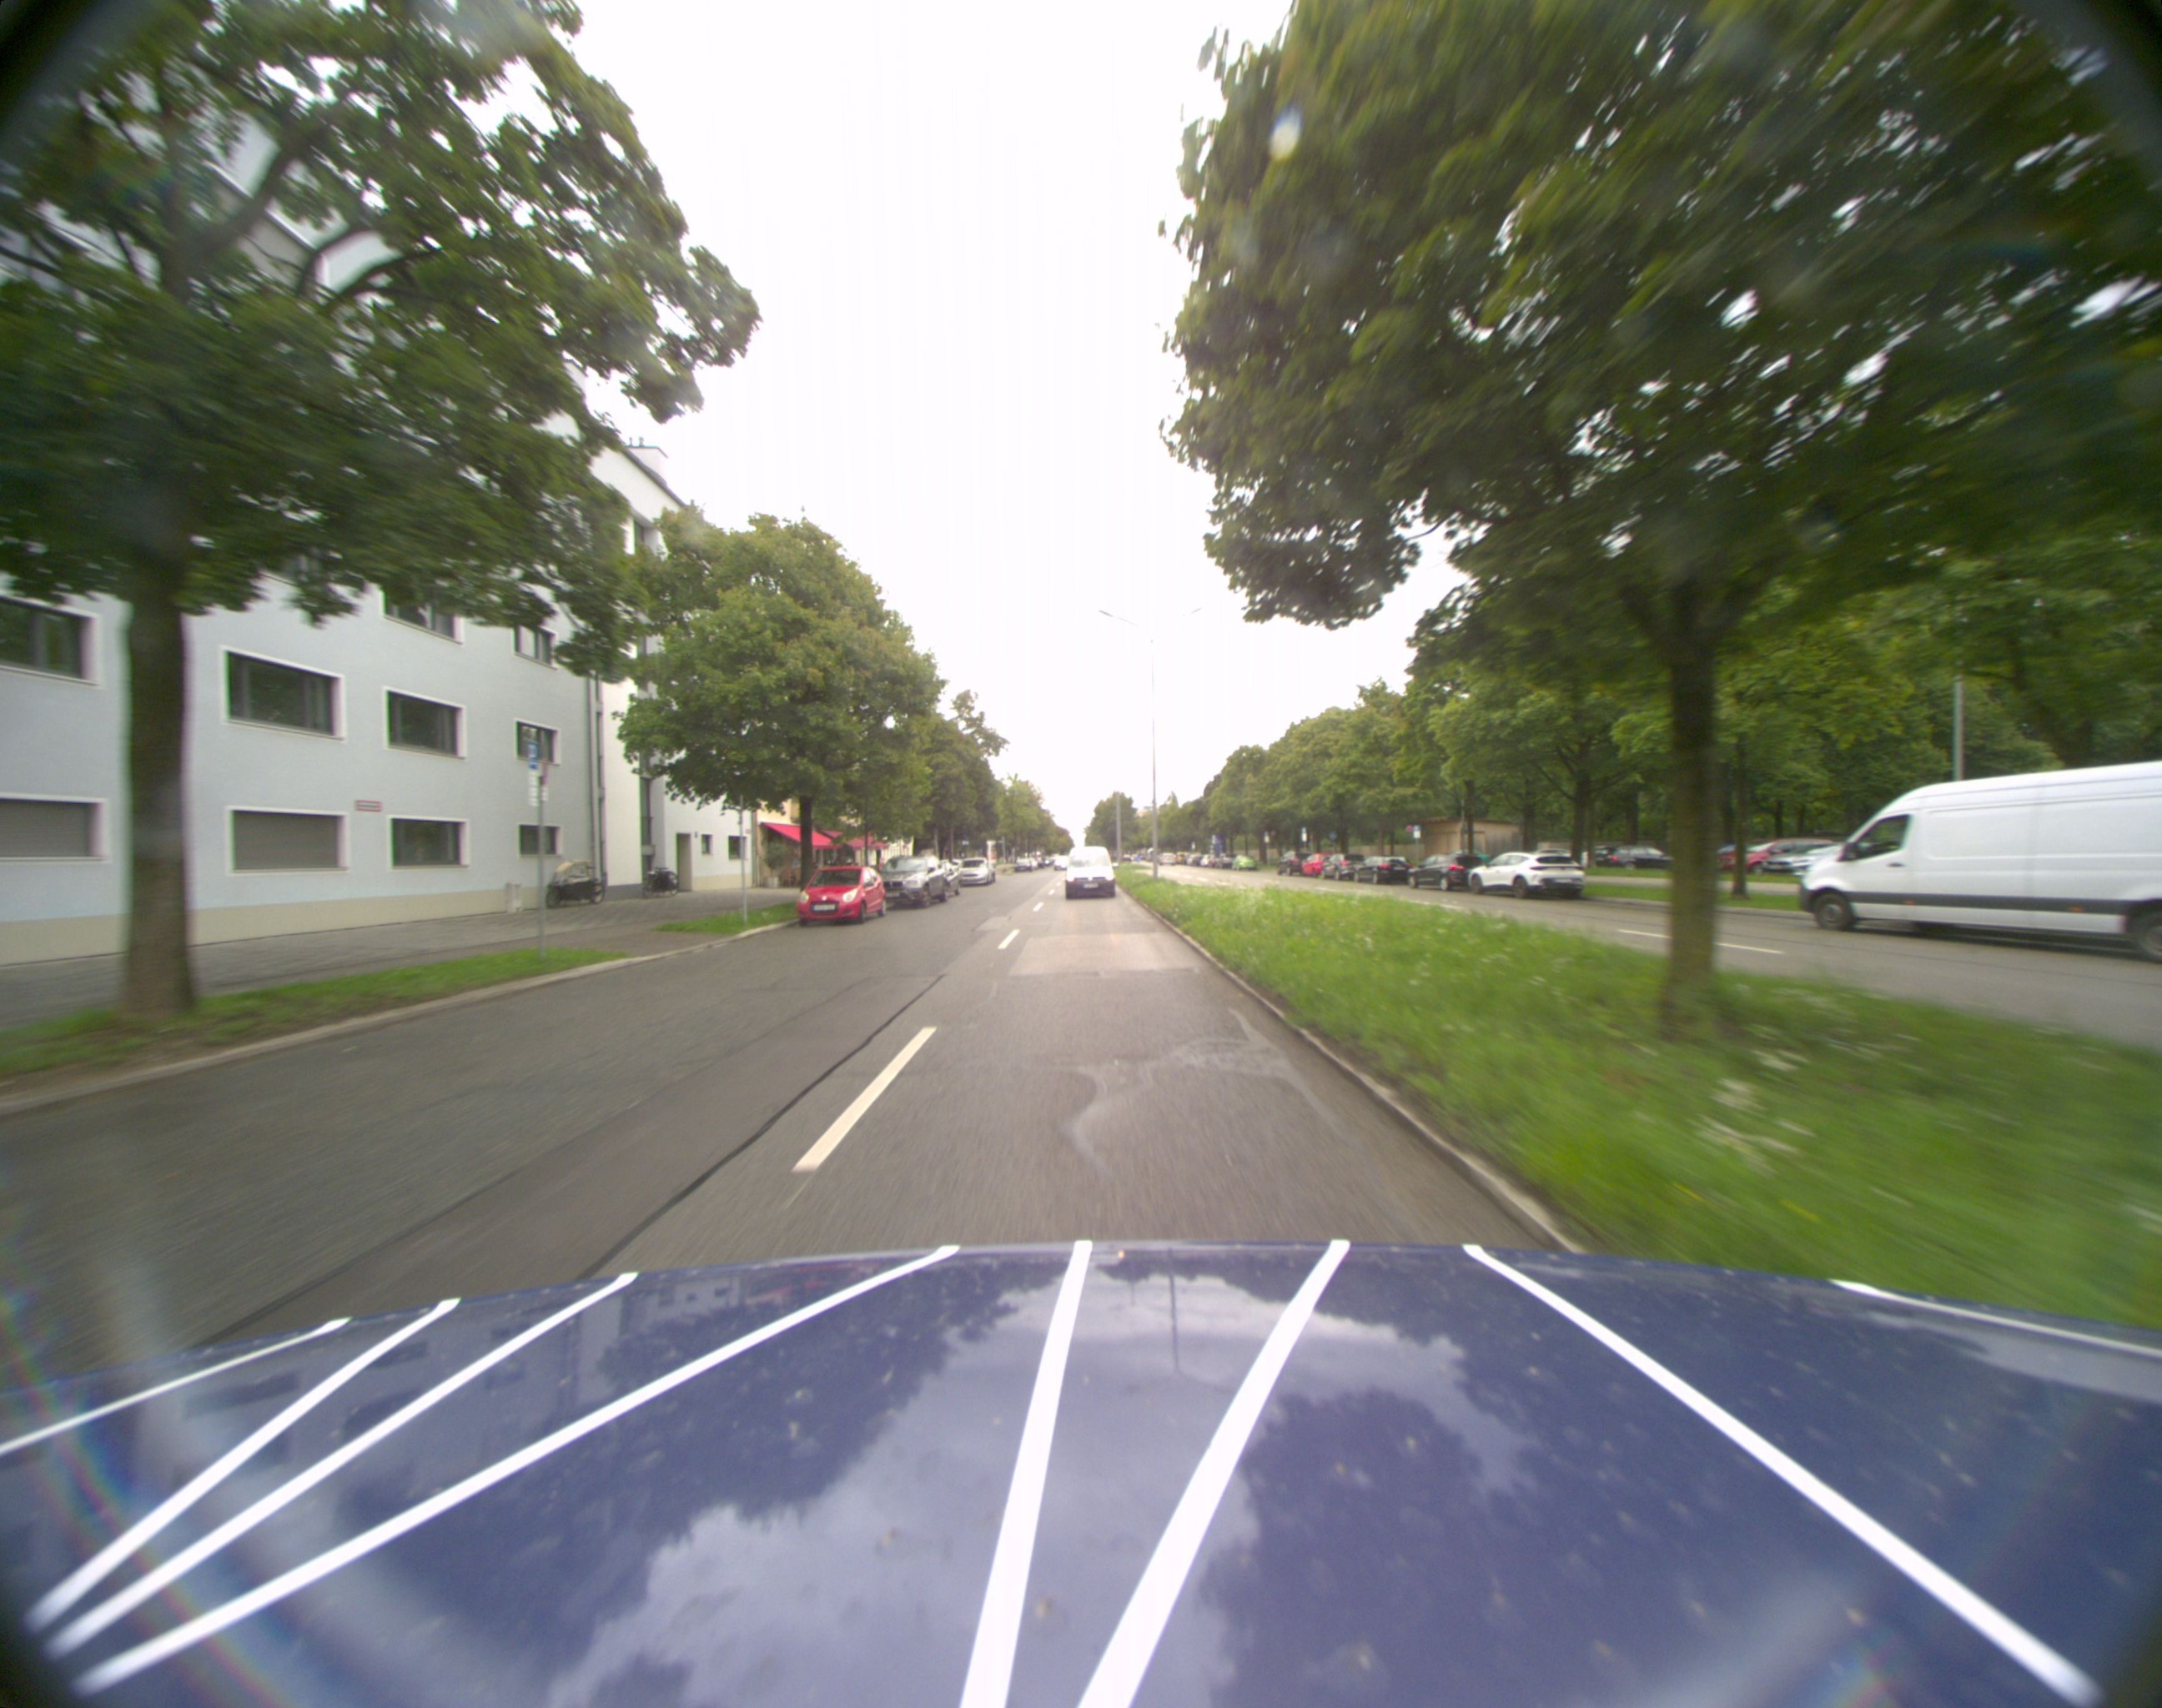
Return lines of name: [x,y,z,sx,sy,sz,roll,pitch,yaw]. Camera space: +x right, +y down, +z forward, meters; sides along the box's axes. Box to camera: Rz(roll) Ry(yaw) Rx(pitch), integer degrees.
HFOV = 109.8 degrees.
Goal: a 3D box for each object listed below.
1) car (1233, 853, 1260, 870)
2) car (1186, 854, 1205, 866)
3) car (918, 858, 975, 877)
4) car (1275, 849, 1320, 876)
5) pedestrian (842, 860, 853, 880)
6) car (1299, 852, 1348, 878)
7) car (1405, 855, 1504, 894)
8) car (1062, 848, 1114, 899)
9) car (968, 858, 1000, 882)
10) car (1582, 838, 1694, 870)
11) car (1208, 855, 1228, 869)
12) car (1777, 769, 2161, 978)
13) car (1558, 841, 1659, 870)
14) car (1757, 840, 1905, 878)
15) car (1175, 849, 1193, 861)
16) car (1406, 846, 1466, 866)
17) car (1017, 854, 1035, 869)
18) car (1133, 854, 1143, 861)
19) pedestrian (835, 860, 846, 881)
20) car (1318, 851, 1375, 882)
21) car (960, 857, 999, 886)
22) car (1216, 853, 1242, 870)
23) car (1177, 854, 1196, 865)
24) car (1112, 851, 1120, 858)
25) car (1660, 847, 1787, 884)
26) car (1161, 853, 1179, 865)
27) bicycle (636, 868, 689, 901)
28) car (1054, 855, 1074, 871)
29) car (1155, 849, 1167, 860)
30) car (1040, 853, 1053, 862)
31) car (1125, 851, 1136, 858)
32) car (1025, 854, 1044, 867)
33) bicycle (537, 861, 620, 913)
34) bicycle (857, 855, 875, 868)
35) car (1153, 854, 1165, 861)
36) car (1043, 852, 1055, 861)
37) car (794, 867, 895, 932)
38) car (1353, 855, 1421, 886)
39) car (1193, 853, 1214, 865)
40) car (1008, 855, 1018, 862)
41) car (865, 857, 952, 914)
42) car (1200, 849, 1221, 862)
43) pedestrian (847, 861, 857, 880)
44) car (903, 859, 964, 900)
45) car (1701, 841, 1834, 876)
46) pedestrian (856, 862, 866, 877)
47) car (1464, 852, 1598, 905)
car: [15.197,0.678,69.871,1.644,1.490,4.000,0,0,1]
car: [15.143,0.788,100.571,1.826,1.461,4.300,0,0,-2]
car: [-11.219,1.139,63.458,4.214,1.433,2.002,-1,0,14]
car: [14.867,0.518,52.325,1.826,1.690,4.238,-2,1,-1]
pedestrian: [-15.462,1.056,50.308,0.539,1.260,0.487,-2,1,-1]
car: [15.179,0.673,47.727,1.826,1.471,3.808,-2,1,-1]
car: [14.776,0.750,30.325,1.826,1.439,3.999,0,0,-3]
car: [0.251,0.684,29.399,1.772,1.742,4.545,-3,0,0]
car: [-6.353,1.038,49.936,1.834,1.464,3.886,-2,0,-5]
car: [27.624,-0.003,37.793,4.146,1.433,2.000,-2,0,-2]
car: [15.154,0.858,84.125,1.654,1.414,3.687,1,0,1]
car: [14.689,0.256,11.324,2.145,2.628,7.105,0,0,1]
car: [28.267,0.061,40.797,3.997,1.433,2.000,-1,0,0]
car: [27.374,0.174,27.796,3.999,1.276,1.740,-1,0,-6]
car: [15.276,0.162,112.949,1.862,1.761,4.533,0,0,-2]
car: [26.434,0.127,56.643,3.849,1.401,1.863,-1,0,31]
car: [-5.735,0.780,79.621,1.648,1.468,3.956,-2,0,-1]
car: [12.630,0.693,168.774,1.826,1.544,3.721,-1,0,1]
pedestrian: [-15.544,1.034,49.090,0.539,1.331,0.552,-1,1,-1]
car: [14.788,0.655,42.485,1.826,1.590,4.113,-1,0,2]
car: [-5.879,0.964,44.369,1.834,1.513,4.522,-3,0,-3]
car: [15.250,0.740,78.409,1.826,1.621,4.456,0,0,0]
car: [14.819,0.755,106.708,2.007,1.607,4.041,0,0,-2]
car: [8.835,0.198,193.400,1.826,1.580,4.501,-1,0,1]
car: [28.083,0.483,33.279,3.999,1.433,1.999,-2,0,-5]
car: [11.944,0.671,102.199,1.855,1.591,4.402,1,0,1]
bicycle: [-15.016,1.073,27.343,0.623,1.040,2.195,2,0,1]
car: [-1.814,0.924,82.206,1.984,1.591,4.402,1,0,1]
car: [15.716,0.082,149.428,1.998,2.002,4.000,-1,0,0]
car: [-5.346,0.534,117.037,1.827,1.371,4.300,-2,0,-1]
car: [9.914,0.145,152.181,1.820,1.440,4.781,0,0,-1]
car: [-5.534,0.714,90.614,1.826,1.428,4.287,-3,0,1]
bicycle: [-14.928,0.943,22.666,0.704,1.399,2.592,2,0,0]
bicycle: [-20.853,0.711,73.638,1.473,1.149,0.699,-1,1,-2]
car: [14.782,0.684,144.632,1.717,1.401,4.041,0,0,-2]
car: [-5.350,0.472,127.516,1.827,1.460,4.300,-2,0,1]
car: [-6.175,1.132,20.246,1.525,1.433,3.999,-2,0,-2]
car: [14.776,0.759,36.925,1.826,1.401,4.000,0,0,3]
car: [15.316,0.570,95.103,1.826,1.438,3.787,1,0,-2]
car: [-15.351,0.962,171.587,1.827,1.460,4.300,-1,0,1]
car: [-5.829,0.997,26.239,1.834,1.736,4.508,-1,0,1]
car: [15.176,0.200,89.359,1.826,1.468,4.260,1,0,1]
pedestrian: [-15.460,1.115,51.296,0.539,1.207,0.487,-1,1,0]
car: [-6.043,1.015,31.510,1.834,1.513,3.770,-2,0,-1]
car: [27.637,0.183,30.645,3.999,1.276,1.740,-1,0,-5]
pedestrian: [-15.284,1.087,52.856,0.539,1.048,0.487,-1,1,0]
car: [14.750,0.750,25.203,1.826,1.519,4.297,0,1,-1]
